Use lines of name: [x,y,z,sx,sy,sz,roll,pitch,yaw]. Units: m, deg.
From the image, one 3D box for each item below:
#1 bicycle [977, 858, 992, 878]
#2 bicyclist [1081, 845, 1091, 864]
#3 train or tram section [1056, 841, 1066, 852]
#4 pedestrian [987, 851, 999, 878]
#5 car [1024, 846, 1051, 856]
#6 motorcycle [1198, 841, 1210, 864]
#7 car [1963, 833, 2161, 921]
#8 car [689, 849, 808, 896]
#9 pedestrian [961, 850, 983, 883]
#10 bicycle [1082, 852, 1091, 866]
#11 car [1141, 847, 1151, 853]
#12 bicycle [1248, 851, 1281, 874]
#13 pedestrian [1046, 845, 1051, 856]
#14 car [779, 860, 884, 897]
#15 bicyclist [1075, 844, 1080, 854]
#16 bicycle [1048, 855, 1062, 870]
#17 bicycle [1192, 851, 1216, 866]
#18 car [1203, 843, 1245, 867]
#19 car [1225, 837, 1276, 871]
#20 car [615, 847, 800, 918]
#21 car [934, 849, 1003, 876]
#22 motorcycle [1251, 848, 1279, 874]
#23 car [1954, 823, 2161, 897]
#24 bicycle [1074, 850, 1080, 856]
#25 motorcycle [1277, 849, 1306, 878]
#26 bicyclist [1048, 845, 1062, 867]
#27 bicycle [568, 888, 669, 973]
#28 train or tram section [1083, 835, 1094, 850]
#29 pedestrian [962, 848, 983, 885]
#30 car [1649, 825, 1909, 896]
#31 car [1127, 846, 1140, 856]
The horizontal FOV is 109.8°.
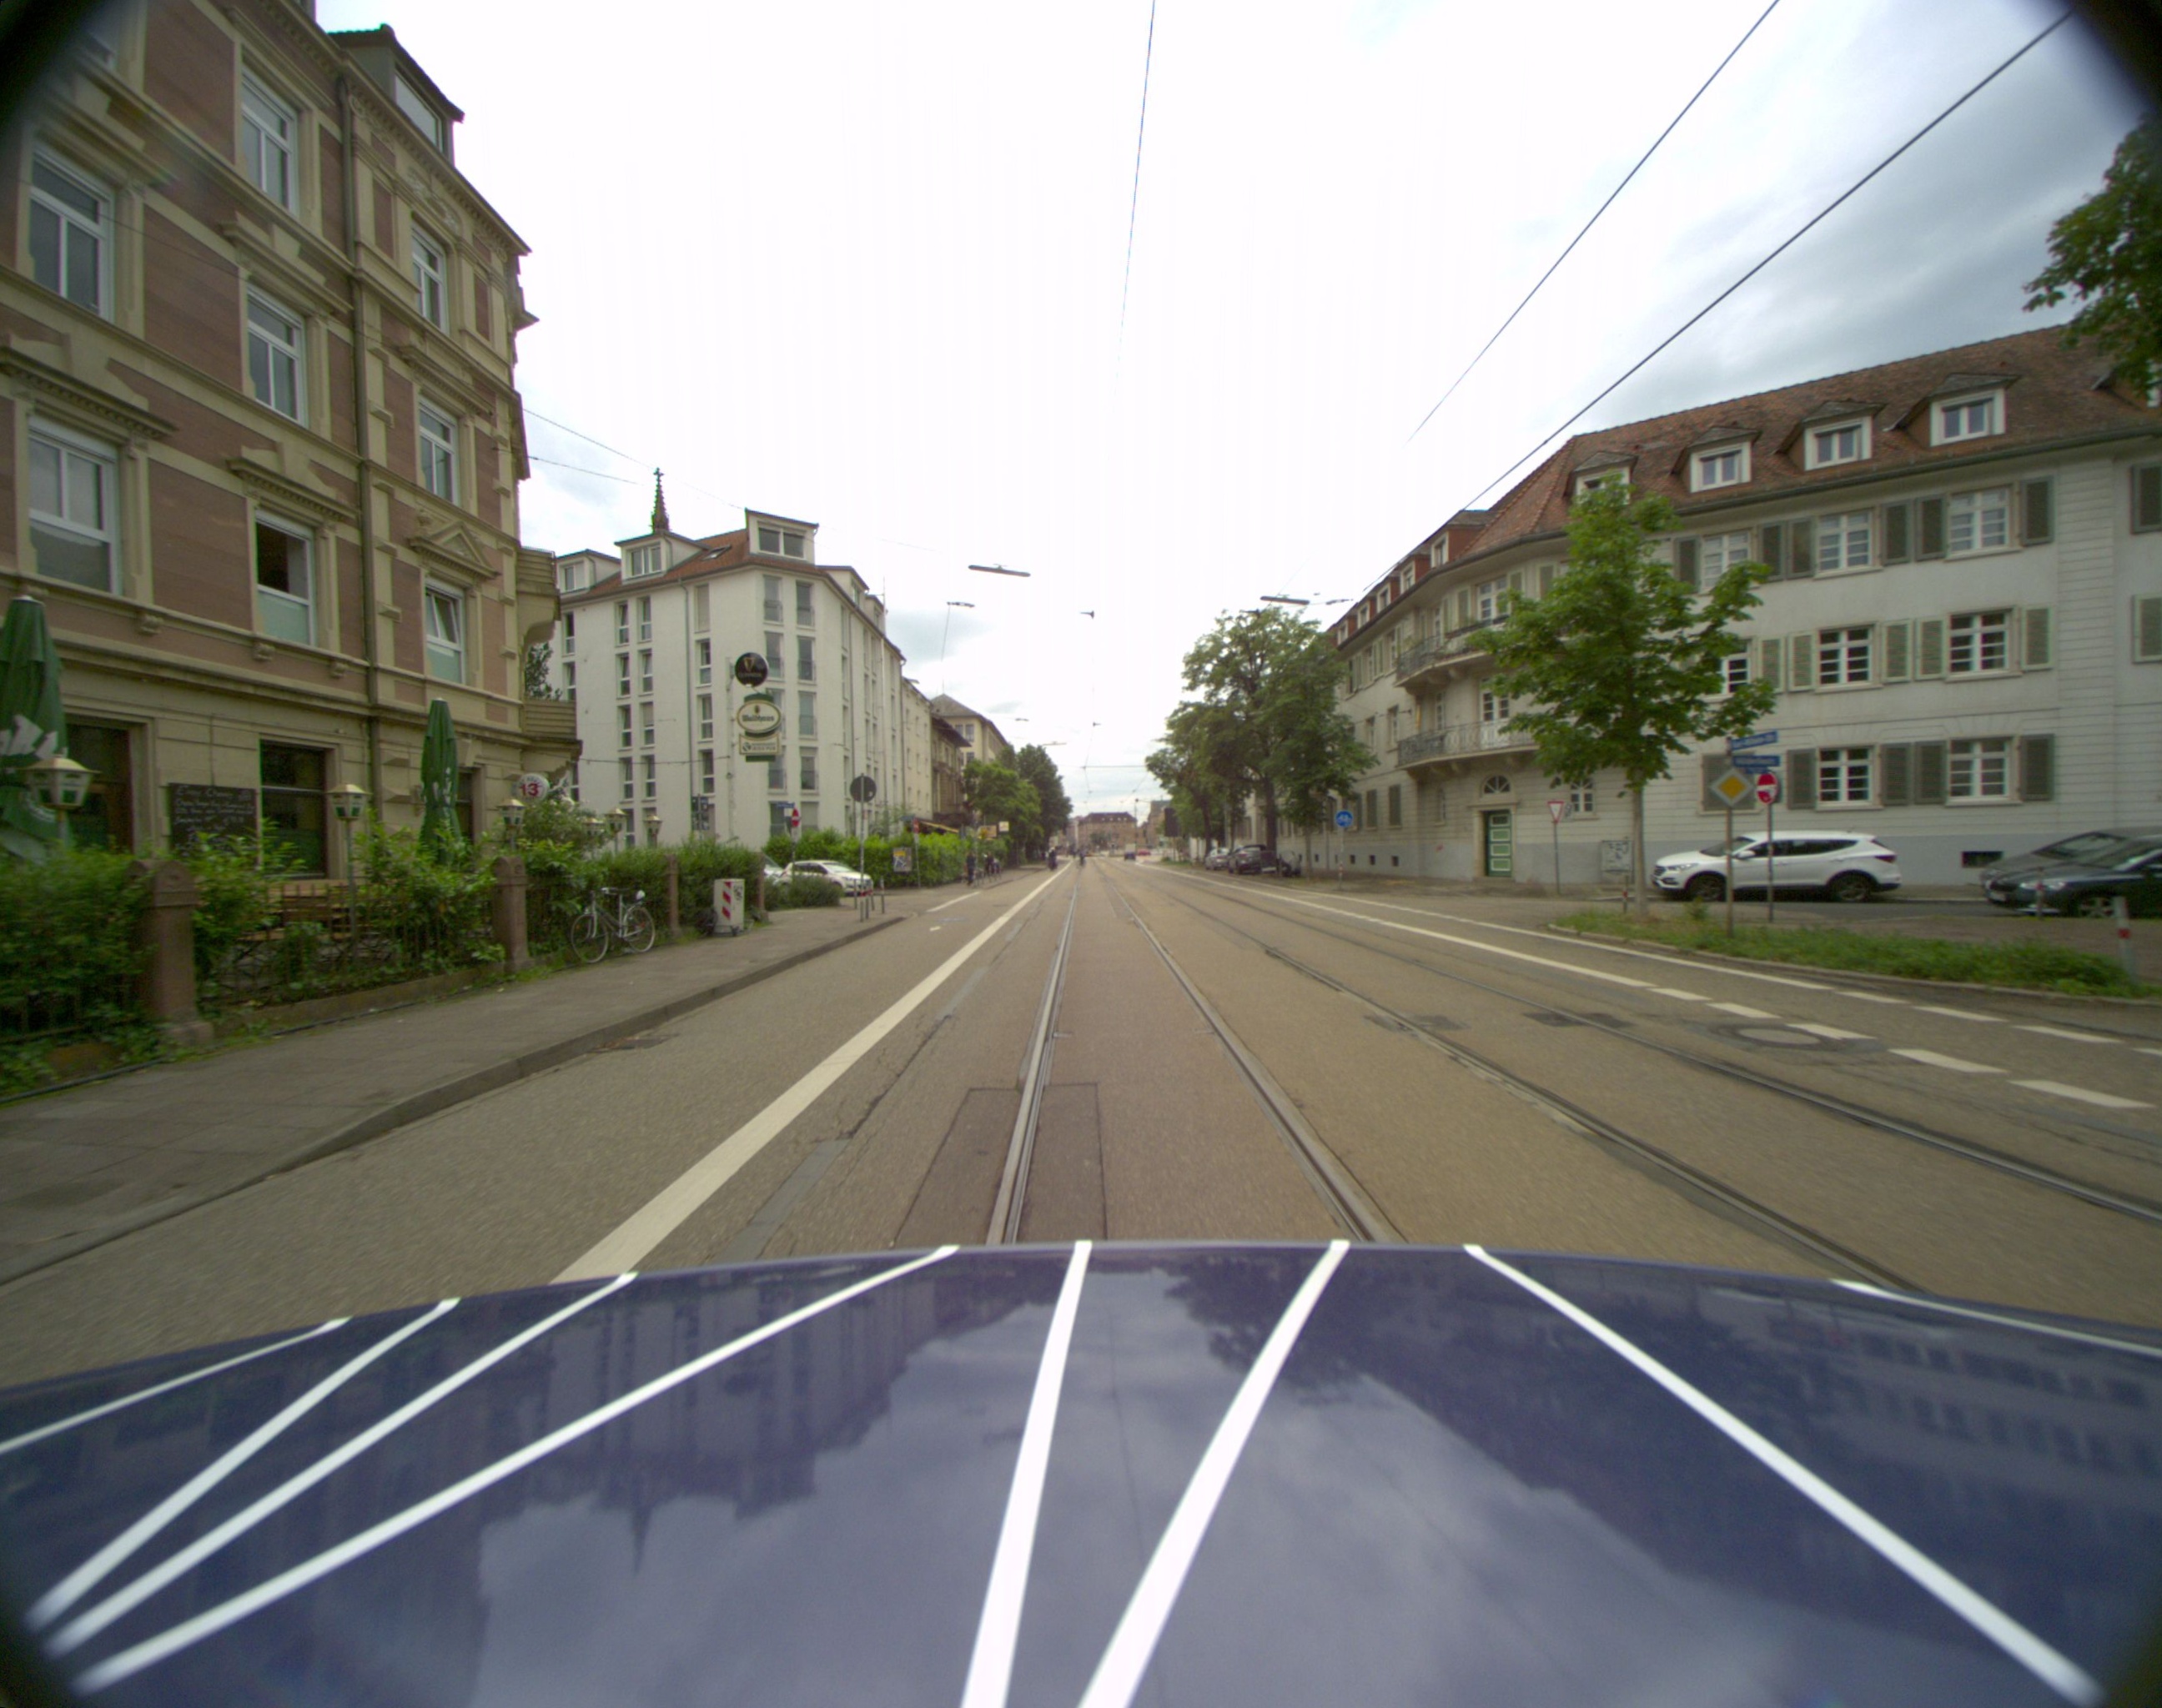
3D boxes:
bicycle: [-5.676,0.806,44.929,0.634,1.121,1.812,1,0,0]
bicyclist: [0.456,0.018,68.094,0.776,1.681,0.869,-2,1,2]
train or tram section: [-5.773,-2.199,220.428,2.610,2.936,4.965,-2,1,-2]
pedestrian: [-5.424,0.629,46.766,0.625,1.661,0.959,1,1,0]
car: [-7.355,-0.445,128.329,4.330,1.542,1.747,-2,0,-22]
motorcycle: [9.325,-0.123,57.825,0.834,1.633,2.481,-1,1,9]
car: [18.358,0.361,12.913,4.060,1.402,1.665,-2,1,29]
car: [-14.450,0.816,32.986,4.734,1.927,1.980,-1,0,23]
pedestrian: [-5.478,0.617,38.089,0.794,1.627,0.837,0,2,16]
bicycle: [0.494,0.479,68.412,0.776,1.205,1.869,-2,1,2]
car: [14.688,-0.931,172.130,1.758,1.491,4.004,0,1,14]
bicycle: [9.072,0.404,37.598,1.379,0.999,0.930,-4,1,5]
pedestrian: [-5.407,-0.613,127.556,0.614,1.740,0.685,-2,1,-14]
car: [-10.095,0.987,30.743,3.812,1.422,1.674,-2,0,23]
bicyclist: [-0.639,-0.882,140.087,0.793,1.773,1.148,1,1,8]
bicycle: [-2.158,0.708,63.534,0.853,1.234,2.311,-2,-1,5]
bicycle: [9.623,0.353,59.623,1.744,1.122,0.518,-3,0,18]
car: [9.355,0.046,50.044,1.816,1.457,4.613,-2,0,0]
car: [9.280,-0.011,41.965,1.842,1.651,4.293,-4,0,2]
car: [-11.104,0.756,23.100,2.054,1.867,5.035,-1,1,18]
car: [-7.548,0.560,51.176,4.290,1.798,1.824,-1,1,2]
motorcycle: [9.335,0.356,38.580,1.288,1.215,0.548,-3,1,7]
car: [22.778,0.120,16.893,4.038,1.504,1.741,-2,1,27]
bicycle: [-0.642,-0.164,140.096,0.793,1.179,2.012,1,1,8]
motorcycle: [9.546,0.405,34.523,0.541,1.250,2.141,-2,1,-6]
bicyclist: [-2.167,0.178,63.640,0.881,1.811,1.479,-2,-1,5]
bicycle: [-6.726,1.073,11.152,0.302,1.035,1.848,-1,1,0]
train or tram section: [1.874,-2.950,190.892,2.631,3.660,5.984,-2,1,-2]
pedestrian: [-4.966,0.570,34.816,0.875,1.646,0.908,-2,1,-8]
car: [17.519,0.172,19.402,4.505,1.653,1.942,-1,1,25]
car: [7.795,-0.404,112.971,1.733,1.400,3.655,-1,1,0]
